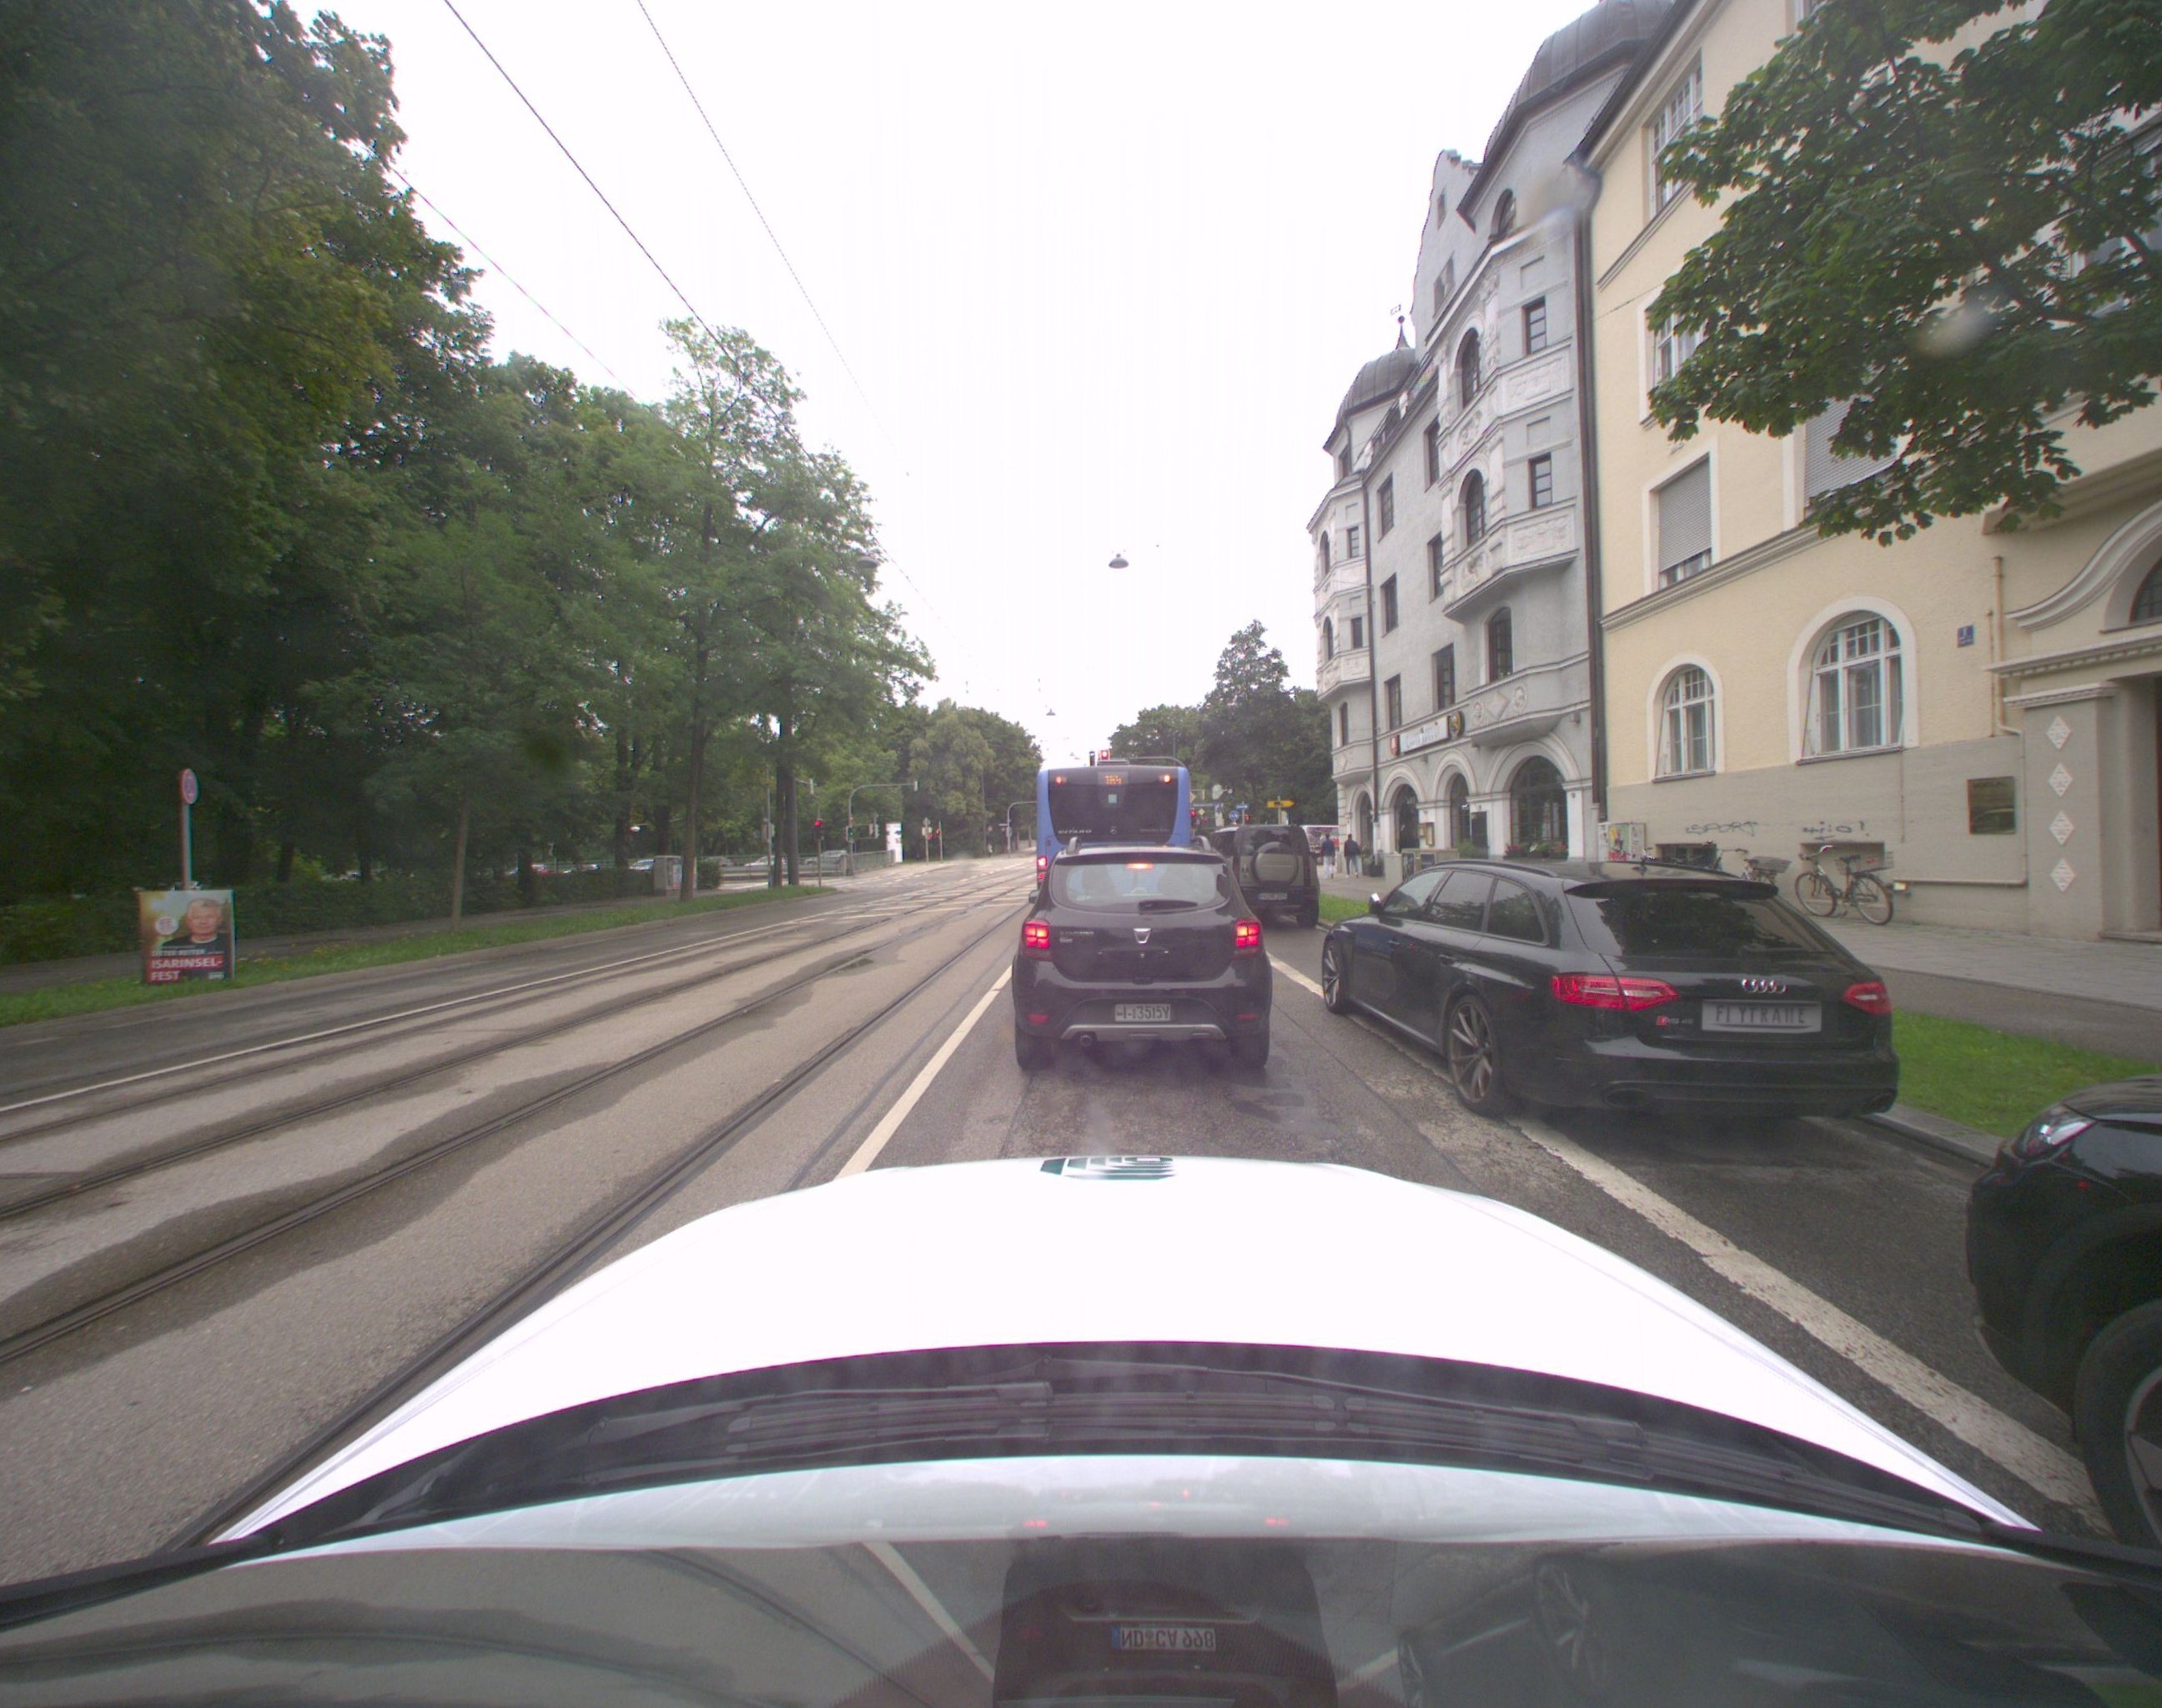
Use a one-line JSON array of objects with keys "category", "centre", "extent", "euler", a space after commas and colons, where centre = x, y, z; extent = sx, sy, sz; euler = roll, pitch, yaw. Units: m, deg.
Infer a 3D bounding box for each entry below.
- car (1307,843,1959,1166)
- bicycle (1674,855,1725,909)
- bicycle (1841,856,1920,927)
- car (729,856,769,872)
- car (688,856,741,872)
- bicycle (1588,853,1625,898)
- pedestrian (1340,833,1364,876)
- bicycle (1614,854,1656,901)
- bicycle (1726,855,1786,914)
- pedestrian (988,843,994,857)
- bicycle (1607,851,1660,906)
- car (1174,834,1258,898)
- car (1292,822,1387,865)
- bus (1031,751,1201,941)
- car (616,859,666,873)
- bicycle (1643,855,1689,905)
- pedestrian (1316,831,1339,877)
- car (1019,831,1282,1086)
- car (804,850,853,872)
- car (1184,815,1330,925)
[{"category": "car", "centre": [3.075, 0.659, 5.902], "extent": [1.709, 1.426, 4.603], "euler": [0, 0, 1]}, {"category": "bicycle", "centre": [11.100, 0.491, 14.626], "extent": [0.271, 0.930, 0.886], "euler": [0, 0, 3]}, {"category": "bicycle", "centre": [10.987, 0.493, 11.216], "extent": [0.220, 0.930, 0.886], "euler": [0, 0, 1]}, {"category": "car", "centre": [-29.905, 0.900, 73.441], "extent": [3.103, 1.452, 1.249], "euler": [0, 0, -4]}, {"category": "car", "centre": [-32.988, 0.933, 73.391], "extent": [3.915, 1.404, 1.719], "euler": [0, 0, -3]}, {"category": "bicycle", "centre": [11.282, 0.446, 17.492], "extent": [0.258, 0.930, 0.886], "euler": [0, 0, 3]}, {"category": "pedestrian", "centre": [10.840, 0.018, 32.544], "extent": [0.702, 1.732, 0.843], "euler": [0, 0, 2]}, {"category": "bicycle", "centre": [11.254, 0.461, 16.555], "extent": [0.289, 0.930, 0.886], "euler": [0, 0, 3]}, {"category": "bicycle", "centre": [10.999, 0.485, 13.291], "extent": [0.284, 0.930, 0.886], "euler": [0, 0, 3]}, {"category": "pedestrian", "centre": [-9.622, -0.465, 86.849], "extent": [0.529, 1.501, 0.589], "euler": [0, 0, 6]}, {"category": "bicycle", "centre": [10.812, 0.461, 15.975], "extent": [0.241, 1.039, 1.224], "euler": [0, 0, 2]}, {"category": "car", "centre": [3.575, 0.296, 22.236], "extent": [1.708, 1.591, 4.329], "euler": [0, 0, 2]}, {"category": "car", "centre": [16.175, -0.661, 51.128], "extent": [5.281, 2.612, 2.229], "euler": [0, 0, -2]}, {"category": "bus", "centre": [0.561, -0.132, 16.328], "extent": [2.670, 2.997, 6.960], "euler": [0, 0, 0]}, {"category": "car", "centre": [-39.474, 1.077, 73.127], "extent": [3.720, 1.185, 1.249], "euler": [0, 0, -4]}, {"category": "bicycle", "centre": [11.191, 0.483, 15.595], "extent": [0.304, 0.930, 0.886], "euler": [0, 0, 3]}, {"category": "pedestrian", "centre": [10.016, 0.000, 33.099], "extent": [0.702, 1.816, 0.870], "euler": [0, 0, 2]}, {"category": "car", "centre": [0.464, 0.633, 6.723], "extent": [1.595, 1.556, 3.526], "euler": [0, 0, 1]}, {"category": "car", "centre": [-22.906, 0.623, 73.897], "extent": [4.015, 1.887, 1.488], "euler": [0, 0, -5]}, {"category": "car", "centre": [3.360, 0.273, 16.511], "extent": [1.908, 1.905, 4.807], "euler": [0, 0, 0]}]
